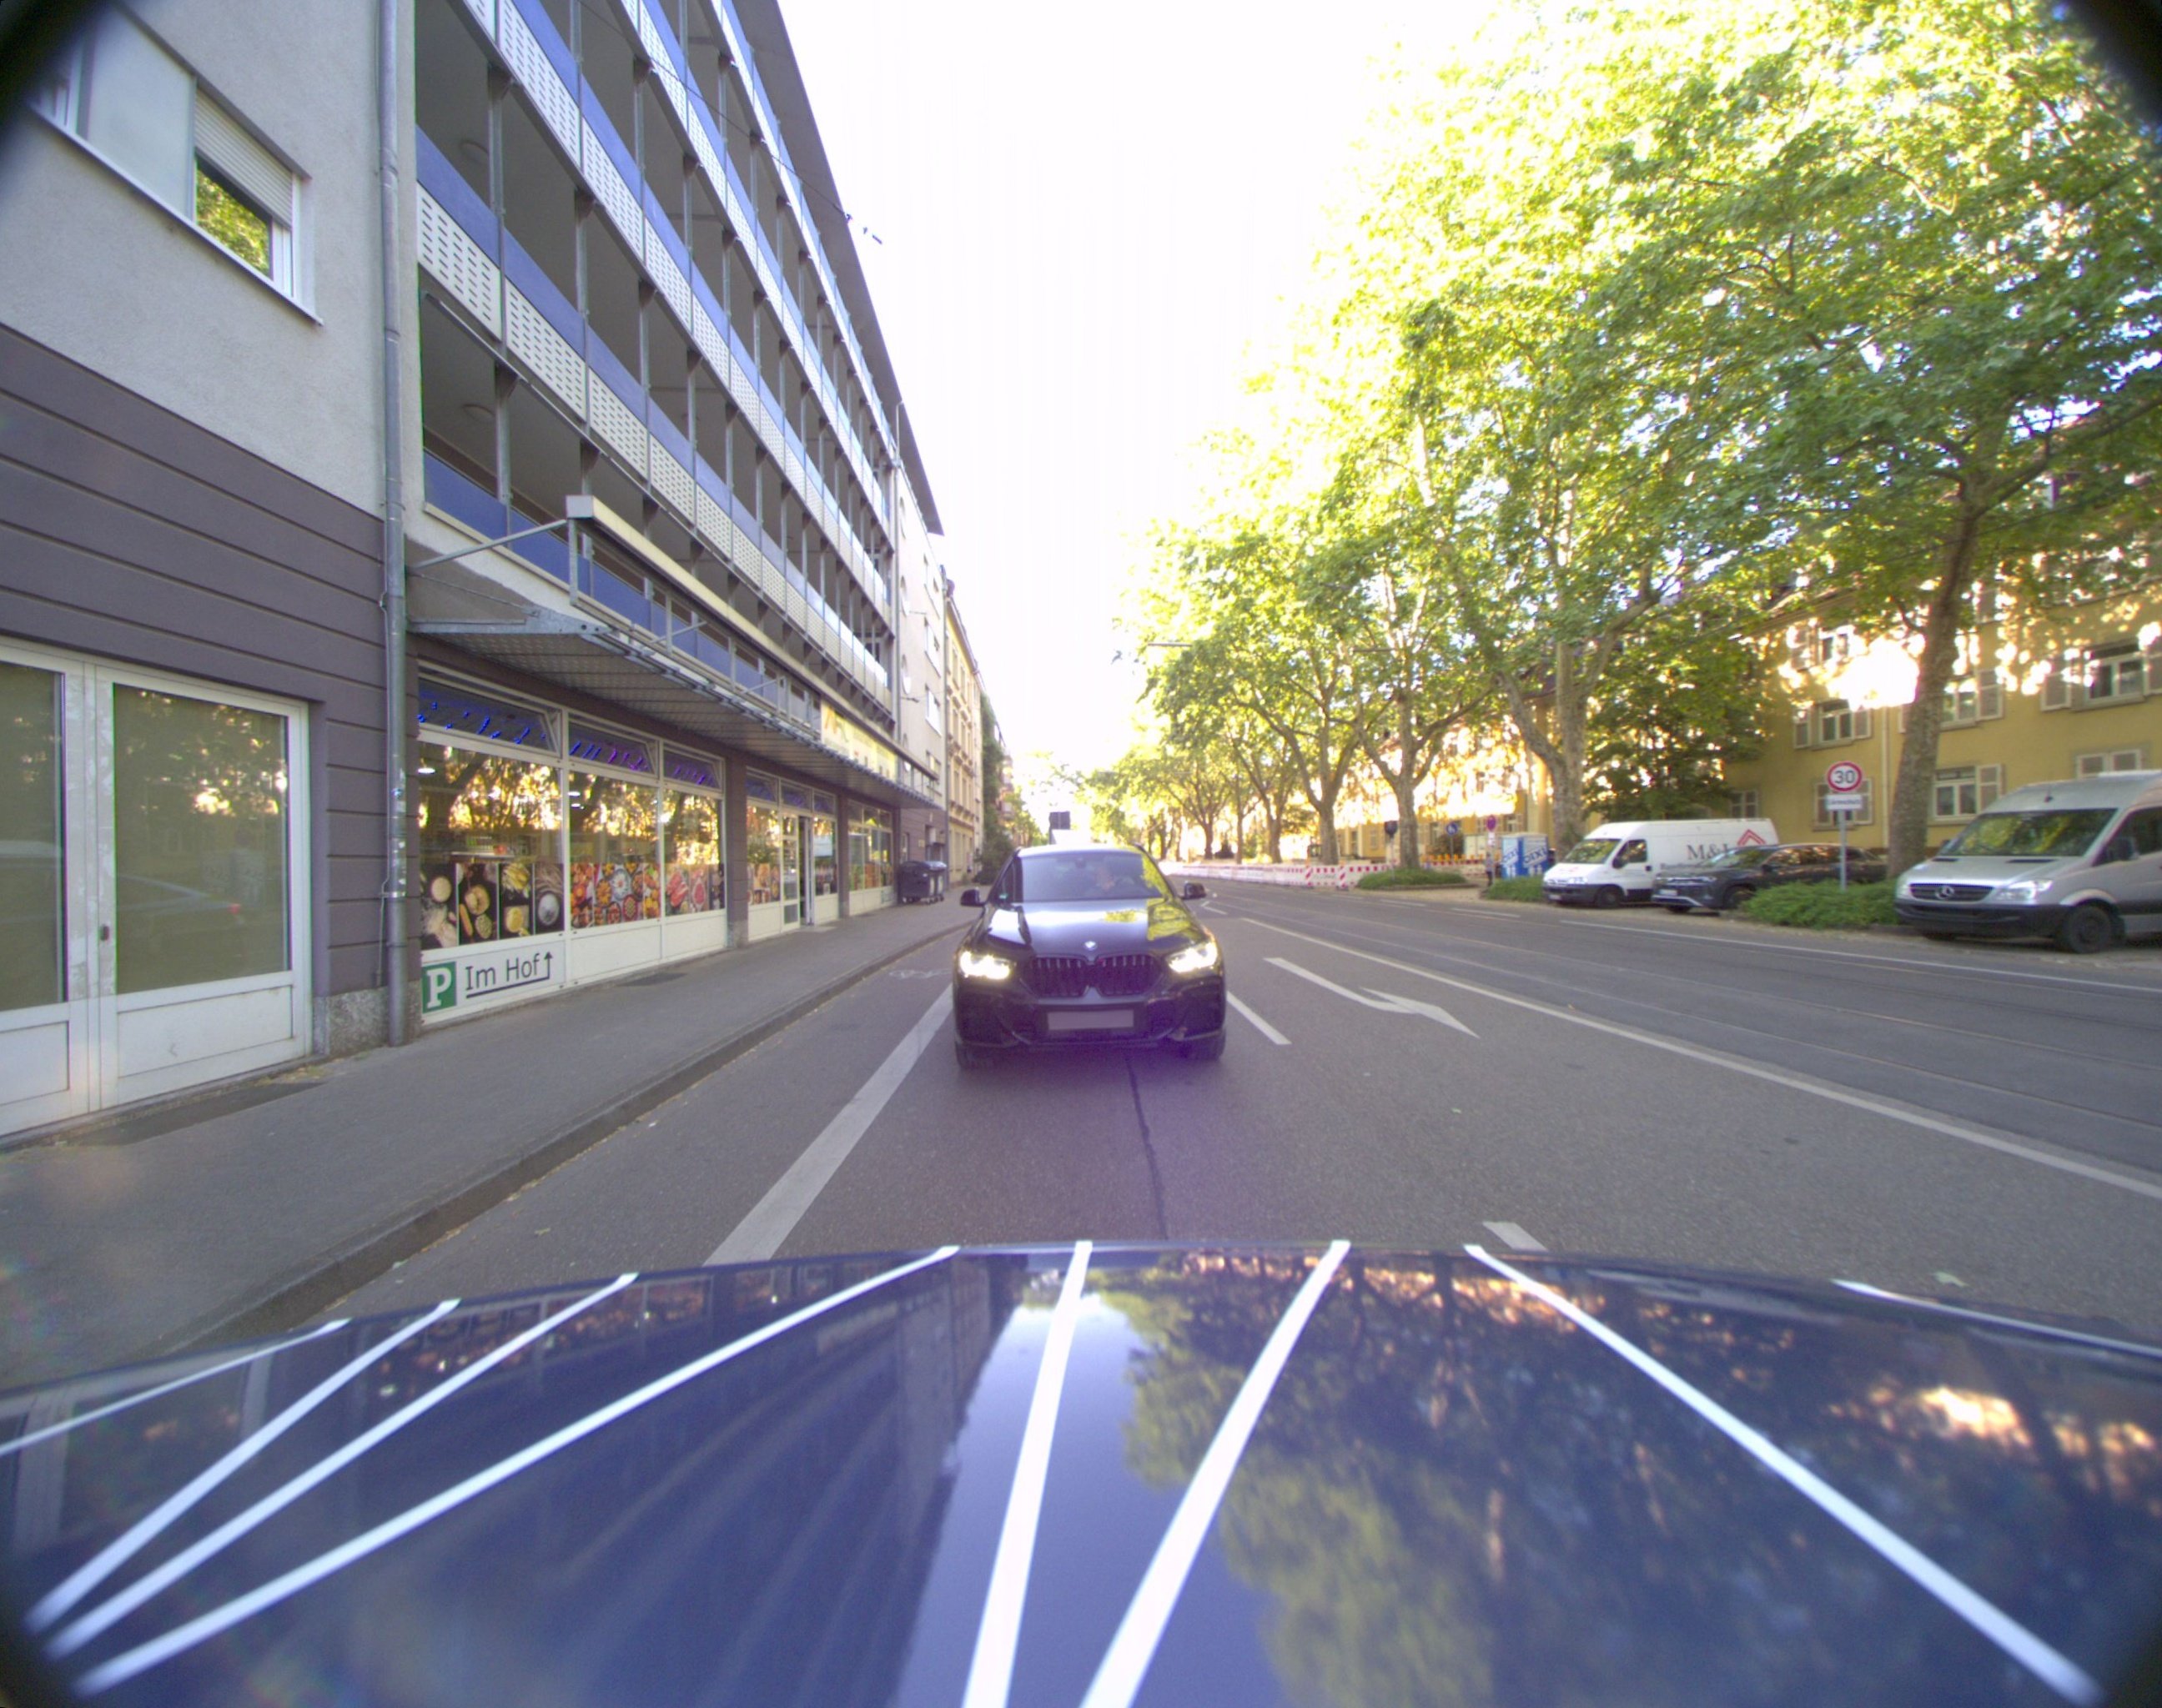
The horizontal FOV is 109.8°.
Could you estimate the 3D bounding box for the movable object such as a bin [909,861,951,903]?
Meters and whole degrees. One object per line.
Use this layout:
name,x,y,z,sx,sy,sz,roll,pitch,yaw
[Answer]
movable object such as a bin,-5.292,0.959,26.719,1.122,1.437,1.306,-1,0,4

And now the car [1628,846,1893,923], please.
car,15.935,0.685,17.985,4.575,1.621,1.969,-1,0,-2

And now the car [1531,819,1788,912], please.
car,15.847,0.304,21.011,5.612,2.361,2.025,-1,0,-2

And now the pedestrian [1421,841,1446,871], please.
pedestrian,24.038,0.145,51.800,1.098,2.002,1.235,-1,0,-4

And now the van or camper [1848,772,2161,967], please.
van or camper,16.084,0.154,11.812,6.127,2.661,2.229,-2,0,-2

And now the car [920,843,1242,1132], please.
car,0.025,0.841,6.954,1.943,1.733,4.475,-2,0,1

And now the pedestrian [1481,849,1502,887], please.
pedestrian,17.458,0.594,32.310,0.595,1.563,0.719,-1,0,44

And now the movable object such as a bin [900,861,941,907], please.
movable object such as a bin,-5.232,0.951,24.823,1.069,1.438,1.296,-1,0,-1

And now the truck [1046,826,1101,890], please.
truck,-0.580,0.232,43.168,2.385,3.165,8.525,2,0,-5
